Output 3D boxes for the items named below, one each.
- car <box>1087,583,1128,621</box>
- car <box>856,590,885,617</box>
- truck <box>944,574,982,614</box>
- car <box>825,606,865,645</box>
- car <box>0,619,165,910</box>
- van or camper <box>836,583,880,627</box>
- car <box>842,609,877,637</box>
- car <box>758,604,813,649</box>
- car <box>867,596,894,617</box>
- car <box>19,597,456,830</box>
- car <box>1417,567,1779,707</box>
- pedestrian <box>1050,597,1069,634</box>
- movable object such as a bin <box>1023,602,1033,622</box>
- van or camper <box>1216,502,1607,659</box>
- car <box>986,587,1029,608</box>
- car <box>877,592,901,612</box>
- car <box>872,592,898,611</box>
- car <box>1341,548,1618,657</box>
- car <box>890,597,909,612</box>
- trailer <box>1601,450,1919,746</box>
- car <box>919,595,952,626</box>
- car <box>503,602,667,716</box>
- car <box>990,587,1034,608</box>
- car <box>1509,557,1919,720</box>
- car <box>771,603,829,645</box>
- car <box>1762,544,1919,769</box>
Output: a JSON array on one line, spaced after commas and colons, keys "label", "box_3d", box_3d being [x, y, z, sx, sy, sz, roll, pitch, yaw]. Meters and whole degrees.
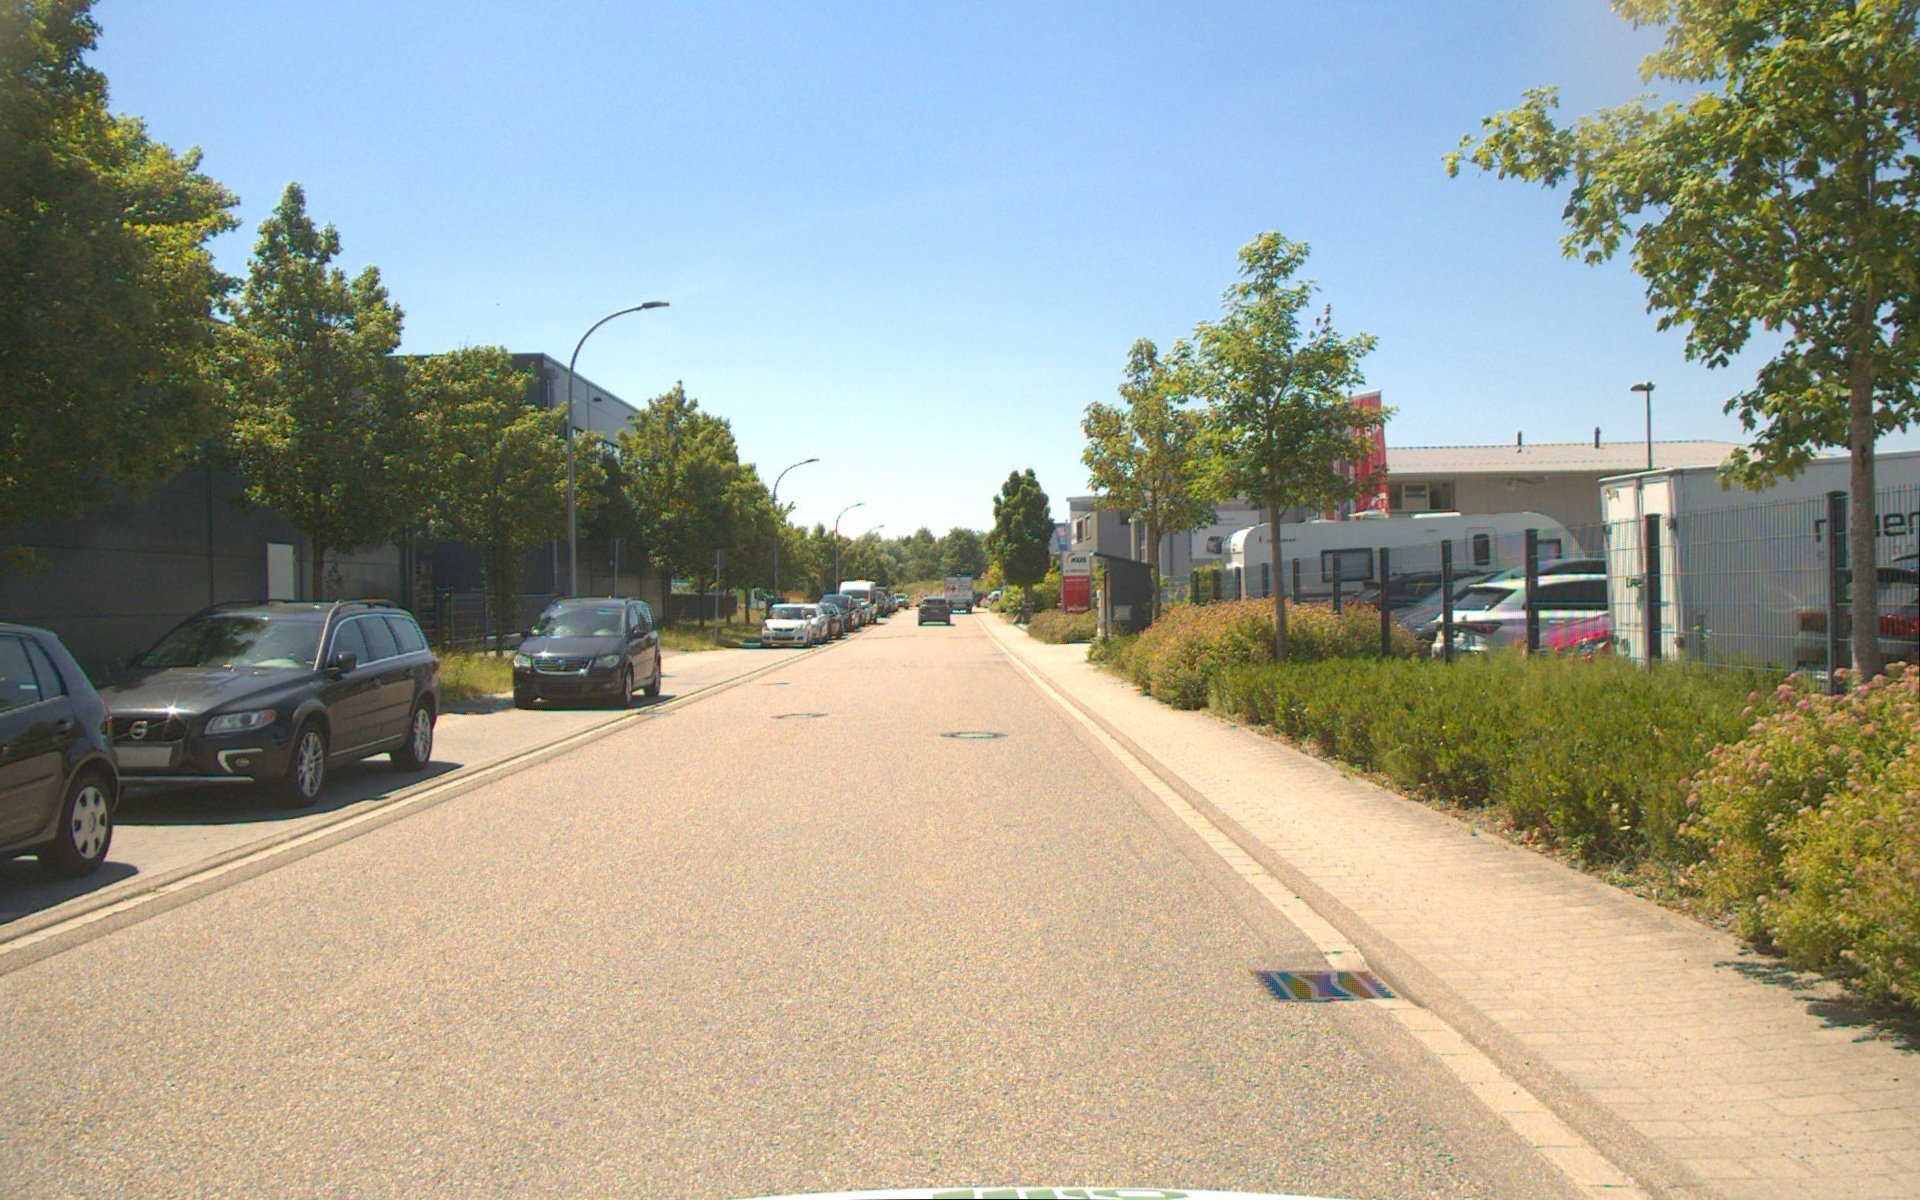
[{"label": "car", "box_3d": [7.582, 0.125, 85.264, 1.748, 1.814, 4.906, -3, -1, 2]}, {"label": "car", "box_3d": [-6.430, 0.235, 119.617, 1.762, 1.881, 4.253, -1, 1, 1]}, {"label": "truck", "box_3d": [0.237, -0.467, 130.816, 2.873, 3.026, 6.419, 1, 0, 0]}, {"label": "car", "box_3d": [-5.688, 1.256, 82.213, 1.762, 1.846, 4.251, -1, 0, -1]}, {"label": "car", "box_3d": [-5.798, 0.853, 8.256, 1.735, 1.456, 4.199, 1, 0, -2]}, {"label": "van or camper", "box_3d": [-6.117, 0.280, 99.583, 2.035, 2.526, 6.132, 1, 0, 2]}, {"label": "car", "box_3d": [-5.597, 1.261, 92.645, 1.762, 1.475, 4.251, -1, 0, -1]}, {"label": "car", "box_3d": [-6.133, 0.897, 58.288, 1.686, 1.502, 3.855, -1, 0, -3]}, {"label": "car", "box_3d": [-6.121, 0.496, 127.142, 1.762, 1.513, 4.253, -1, 1, 1]}, {"label": "car", "box_3d": [-5.895, 0.810, 14.239, 1.735, 1.639, 4.850, -1, 0, -2]}, {"label": "car", "box_3d": [7.887, 0.438, 20.670, 3.765, 1.465, 1.805, -3, 0, -4]}, {"label": "pedestrian", "box_3d": [4.507, 0.720, 75.161, 0.492, 1.641, 0.710, -5, 0, -18]}, {"label": "movable object such as a bin", "box_3d": [3.598, 0.629, 87.552, 0.520, 1.071, 0.845, -2, 0, 1]}, {"label": "van or camper", "box_3d": [8.400, -0.359, 31.321, 6.620, 2.630, 2.635, -2, 0, -1]}, {"label": "car", "box_3d": [4.270, -0.218, 148.672, 3.798, 1.780, 1.751, 1, 0, -3]}, {"label": "car", "box_3d": [-5.849, 0.157, 136.541, 1.762, 1.513, 4.253, -1, 1, 1]}, {"label": "car", "box_3d": [-6.011, 0.104, 132.222, 1.762, 1.513, 4.253, -1, 1, 1]}, {"label": "car", "box_3d": [8.735, 0.037, 28.025, 4.054, 1.563, 1.808, -3, 0, -2]}, {"label": "car", "box_3d": [-6.474, 0.427, 176.747, 1.762, 1.513, 4.253, -1, 1, 1]}, {"label": "trailer", "box_3d": [7.523, -0.037, 14.992, 2.767, 2.445, 1.418, -3, 0, -5]}, {"label": "car", "box_3d": [-1.357, 0.590, 91.904, 1.753, 1.652, 3.808, 1, 0, -1]}, {"label": "car", "box_3d": [-5.859, 0.858, 26.342, 1.735, 1.639, 4.246, -1, 0, -2]}, {"label": "car", "box_3d": [4.605, -0.215, 146.189, 3.798, 1.780, 1.751, 1, 0, -3]}, {"label": "car", "box_3d": [8.181, 0.394, 17.919, 3.812, 1.501, 1.806, -3, 0, -1]}, {"label": "car", "box_3d": [-6.108, 0.899, 63.550, 1.762, 1.502, 4.554, -1, 0, 0]}, {"label": "car", "box_3d": [8.416, 0.307, 12.271, 3.959, 1.530, 1.918, -2, 0, -1]}]
